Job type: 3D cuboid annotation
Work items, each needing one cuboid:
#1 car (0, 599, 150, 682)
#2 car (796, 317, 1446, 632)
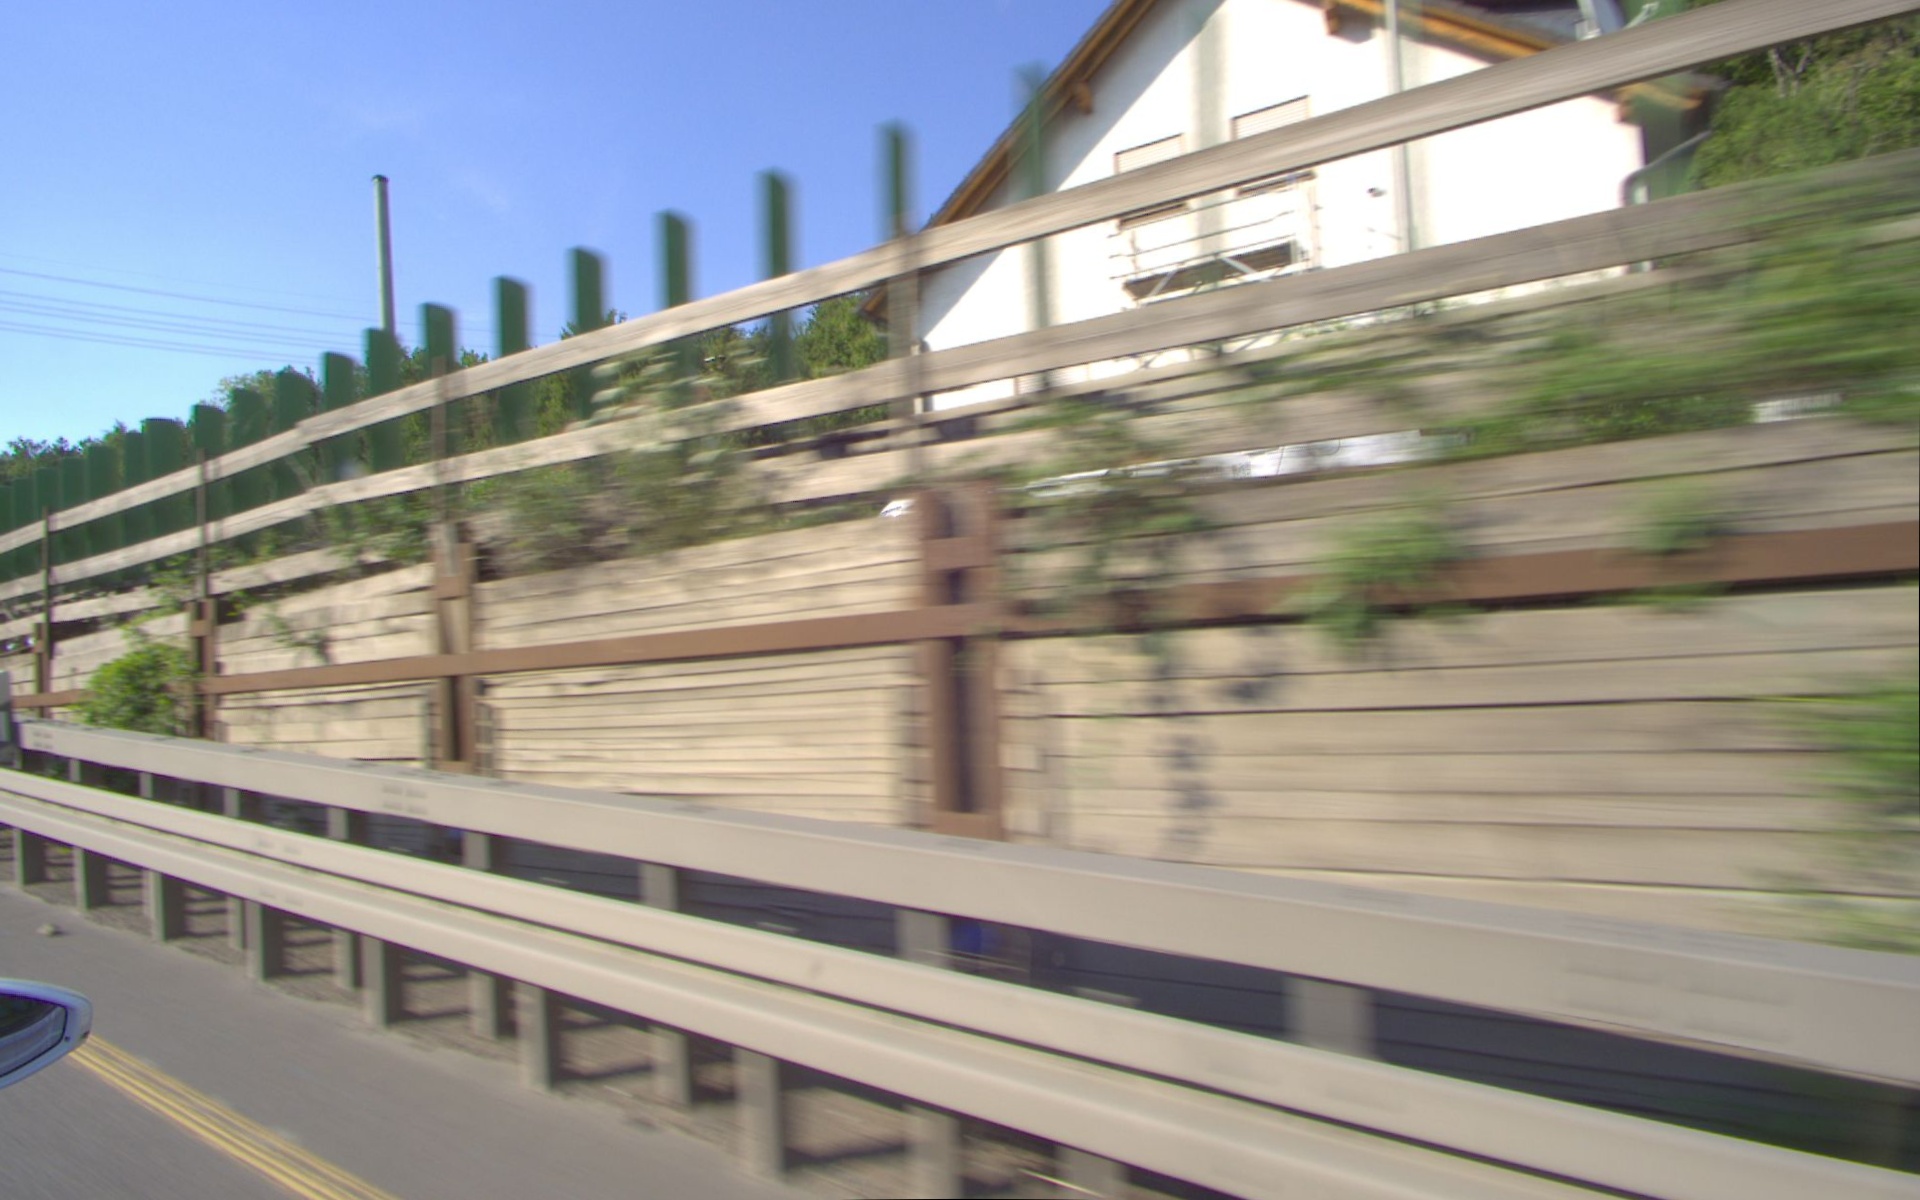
[{"bbox_3d":[-22.303,1.050,25.069,4.378,1.894,1.804,-3,-2,32],"label":"car"},{"bbox_3d":[1.137,-0.687,7.661,4.576,1.679,1.697,-3,-2,27],"label":"car"}]
